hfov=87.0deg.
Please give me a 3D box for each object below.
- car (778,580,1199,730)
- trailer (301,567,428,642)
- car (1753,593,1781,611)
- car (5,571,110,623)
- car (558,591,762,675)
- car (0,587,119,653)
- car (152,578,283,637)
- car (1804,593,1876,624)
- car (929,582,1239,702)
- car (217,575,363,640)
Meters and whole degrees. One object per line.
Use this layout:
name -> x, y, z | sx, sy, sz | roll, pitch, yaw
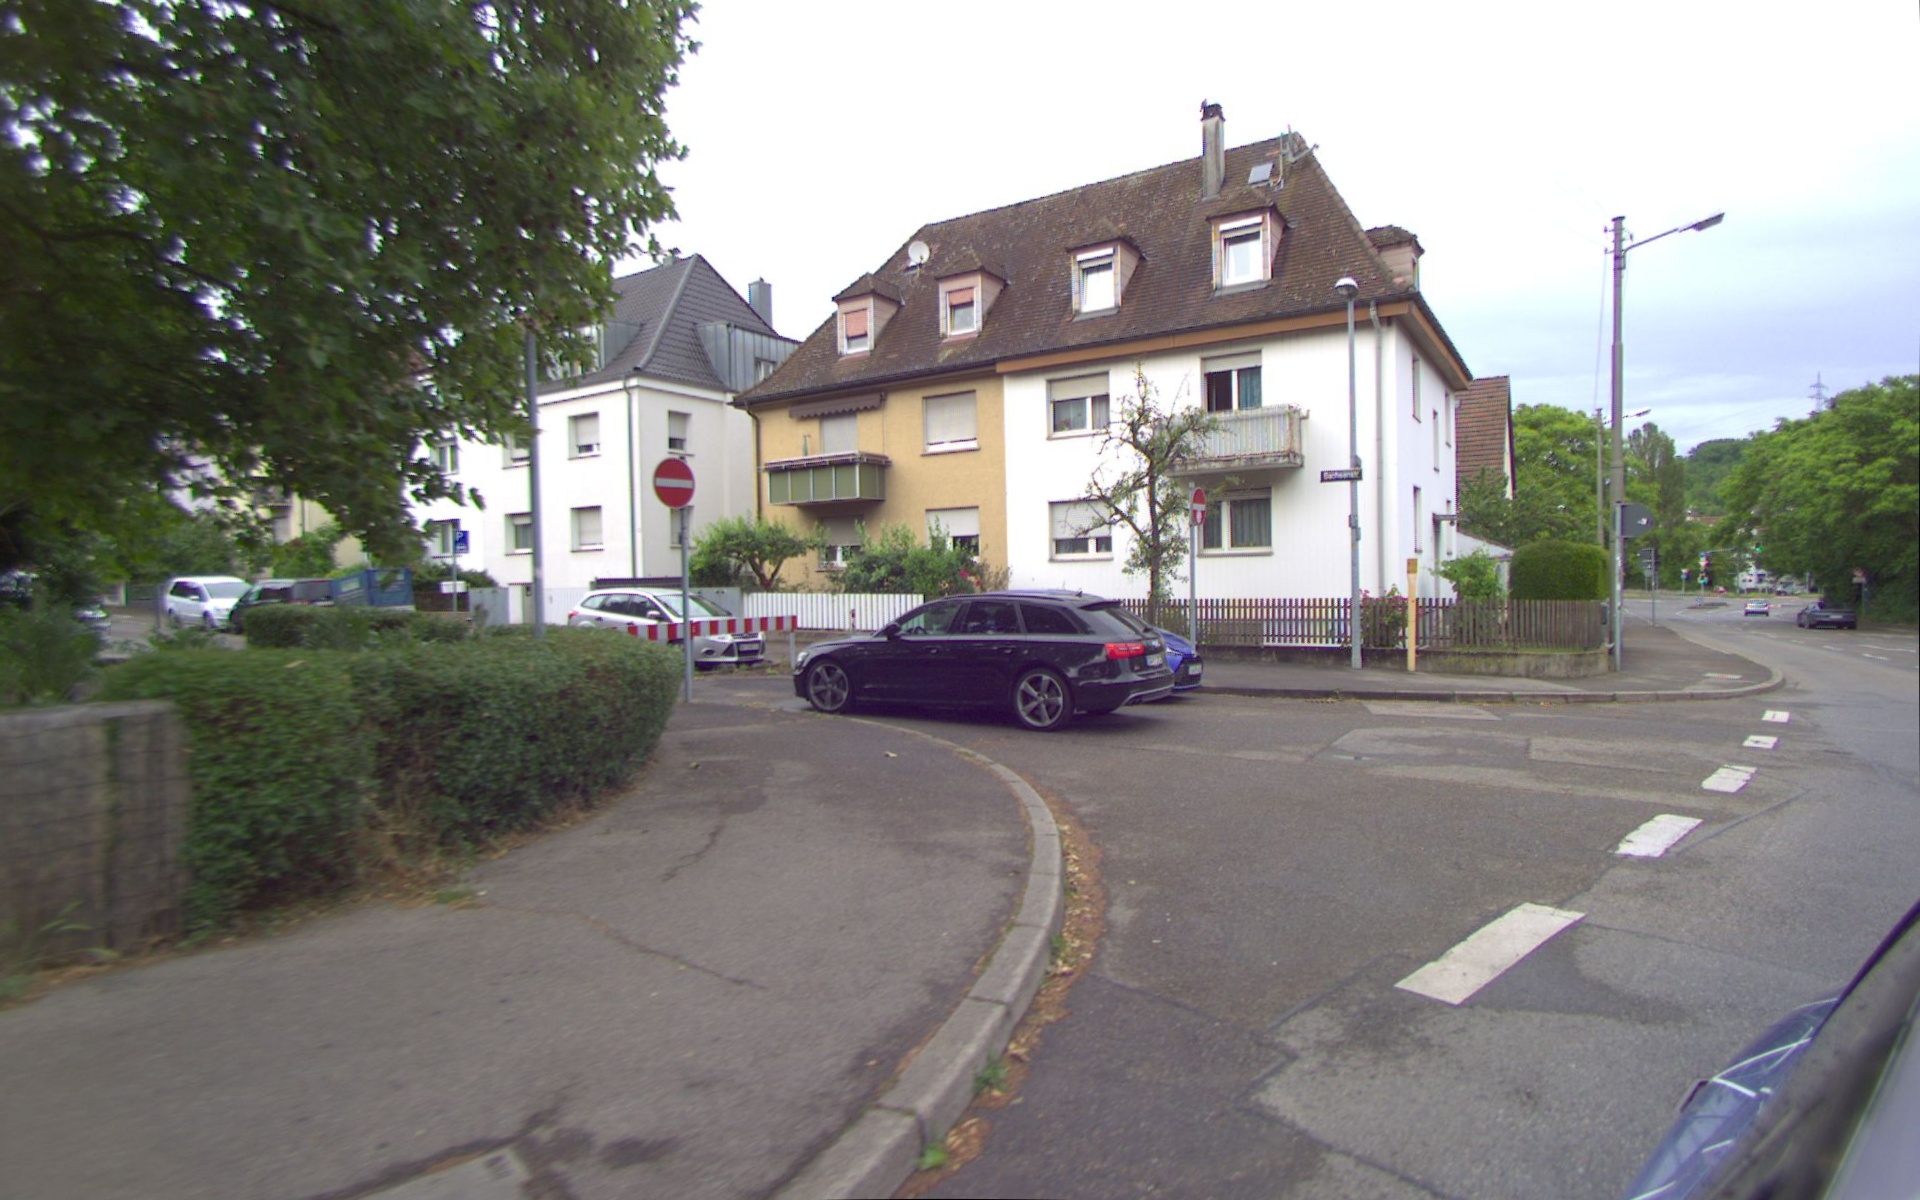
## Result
car -> 0.280, 0.529, 12.194 | 4.774, 1.499, 1.867 | 1, 0, 29
trailer -> -17.107, 0.115, 29.061 | 3.460, 2.039, 1.655 | 0, 0, 30
car -> 67.534, 0.163, 84.719 | 1.664, 1.486, 3.730 | 0, 1, 37
car -> -37.027, -0.120, 41.508 | 3.961, 2.039, 1.981 | -1, 0, 28
car -> -5.783, 0.571, 19.408 | 3.757, 1.472, 1.751 | 0, 0, 33
car -> -23.570, 0.460, 26.120 | 3.976, 1.576, 1.974 | 1, 0, 37
car -> -24.996, 0.226, 34.047 | 4.541, 1.862, 1.978 | 0, 0, 31
car -> 46.176, 0.439, 53.210 | 1.984, 1.461, 4.722 | 2, 1, 31
car -> 1.741, 0.506, 14.715 | 4.101, 1.499, 1.862 | 1, 0, 35
car -> -20.585, 0.197, 31.071 | 4.541, 1.862, 1.978 | 0, 0, 31
